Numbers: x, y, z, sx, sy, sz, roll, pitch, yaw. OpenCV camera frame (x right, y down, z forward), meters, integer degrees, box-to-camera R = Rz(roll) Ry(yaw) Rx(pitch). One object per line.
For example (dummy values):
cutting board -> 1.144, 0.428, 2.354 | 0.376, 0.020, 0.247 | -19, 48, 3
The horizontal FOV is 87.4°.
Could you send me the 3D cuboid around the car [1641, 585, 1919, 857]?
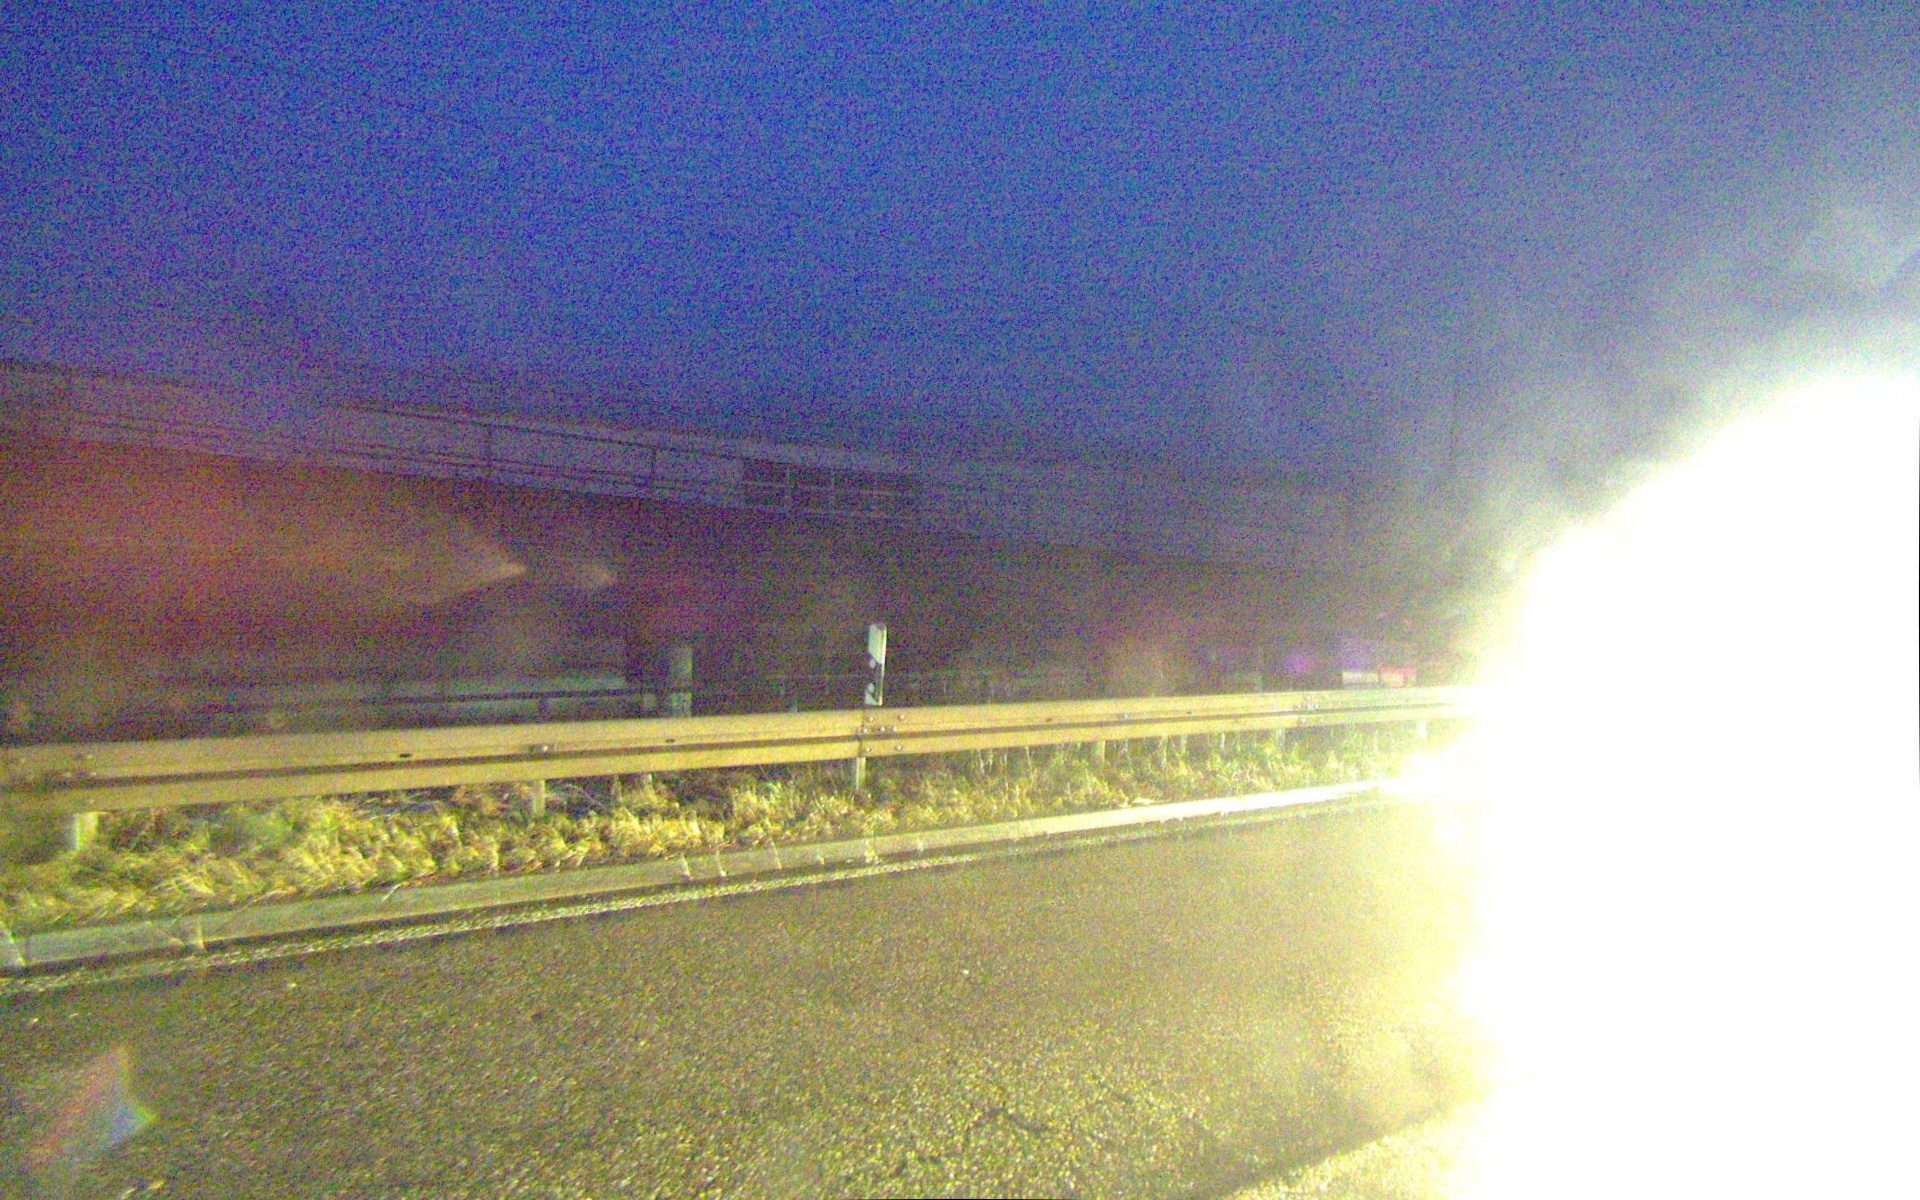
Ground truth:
car -> 7.363, 0.796, 7.829 | 4.078, 1.678, 1.941 | 1, -1, -32
